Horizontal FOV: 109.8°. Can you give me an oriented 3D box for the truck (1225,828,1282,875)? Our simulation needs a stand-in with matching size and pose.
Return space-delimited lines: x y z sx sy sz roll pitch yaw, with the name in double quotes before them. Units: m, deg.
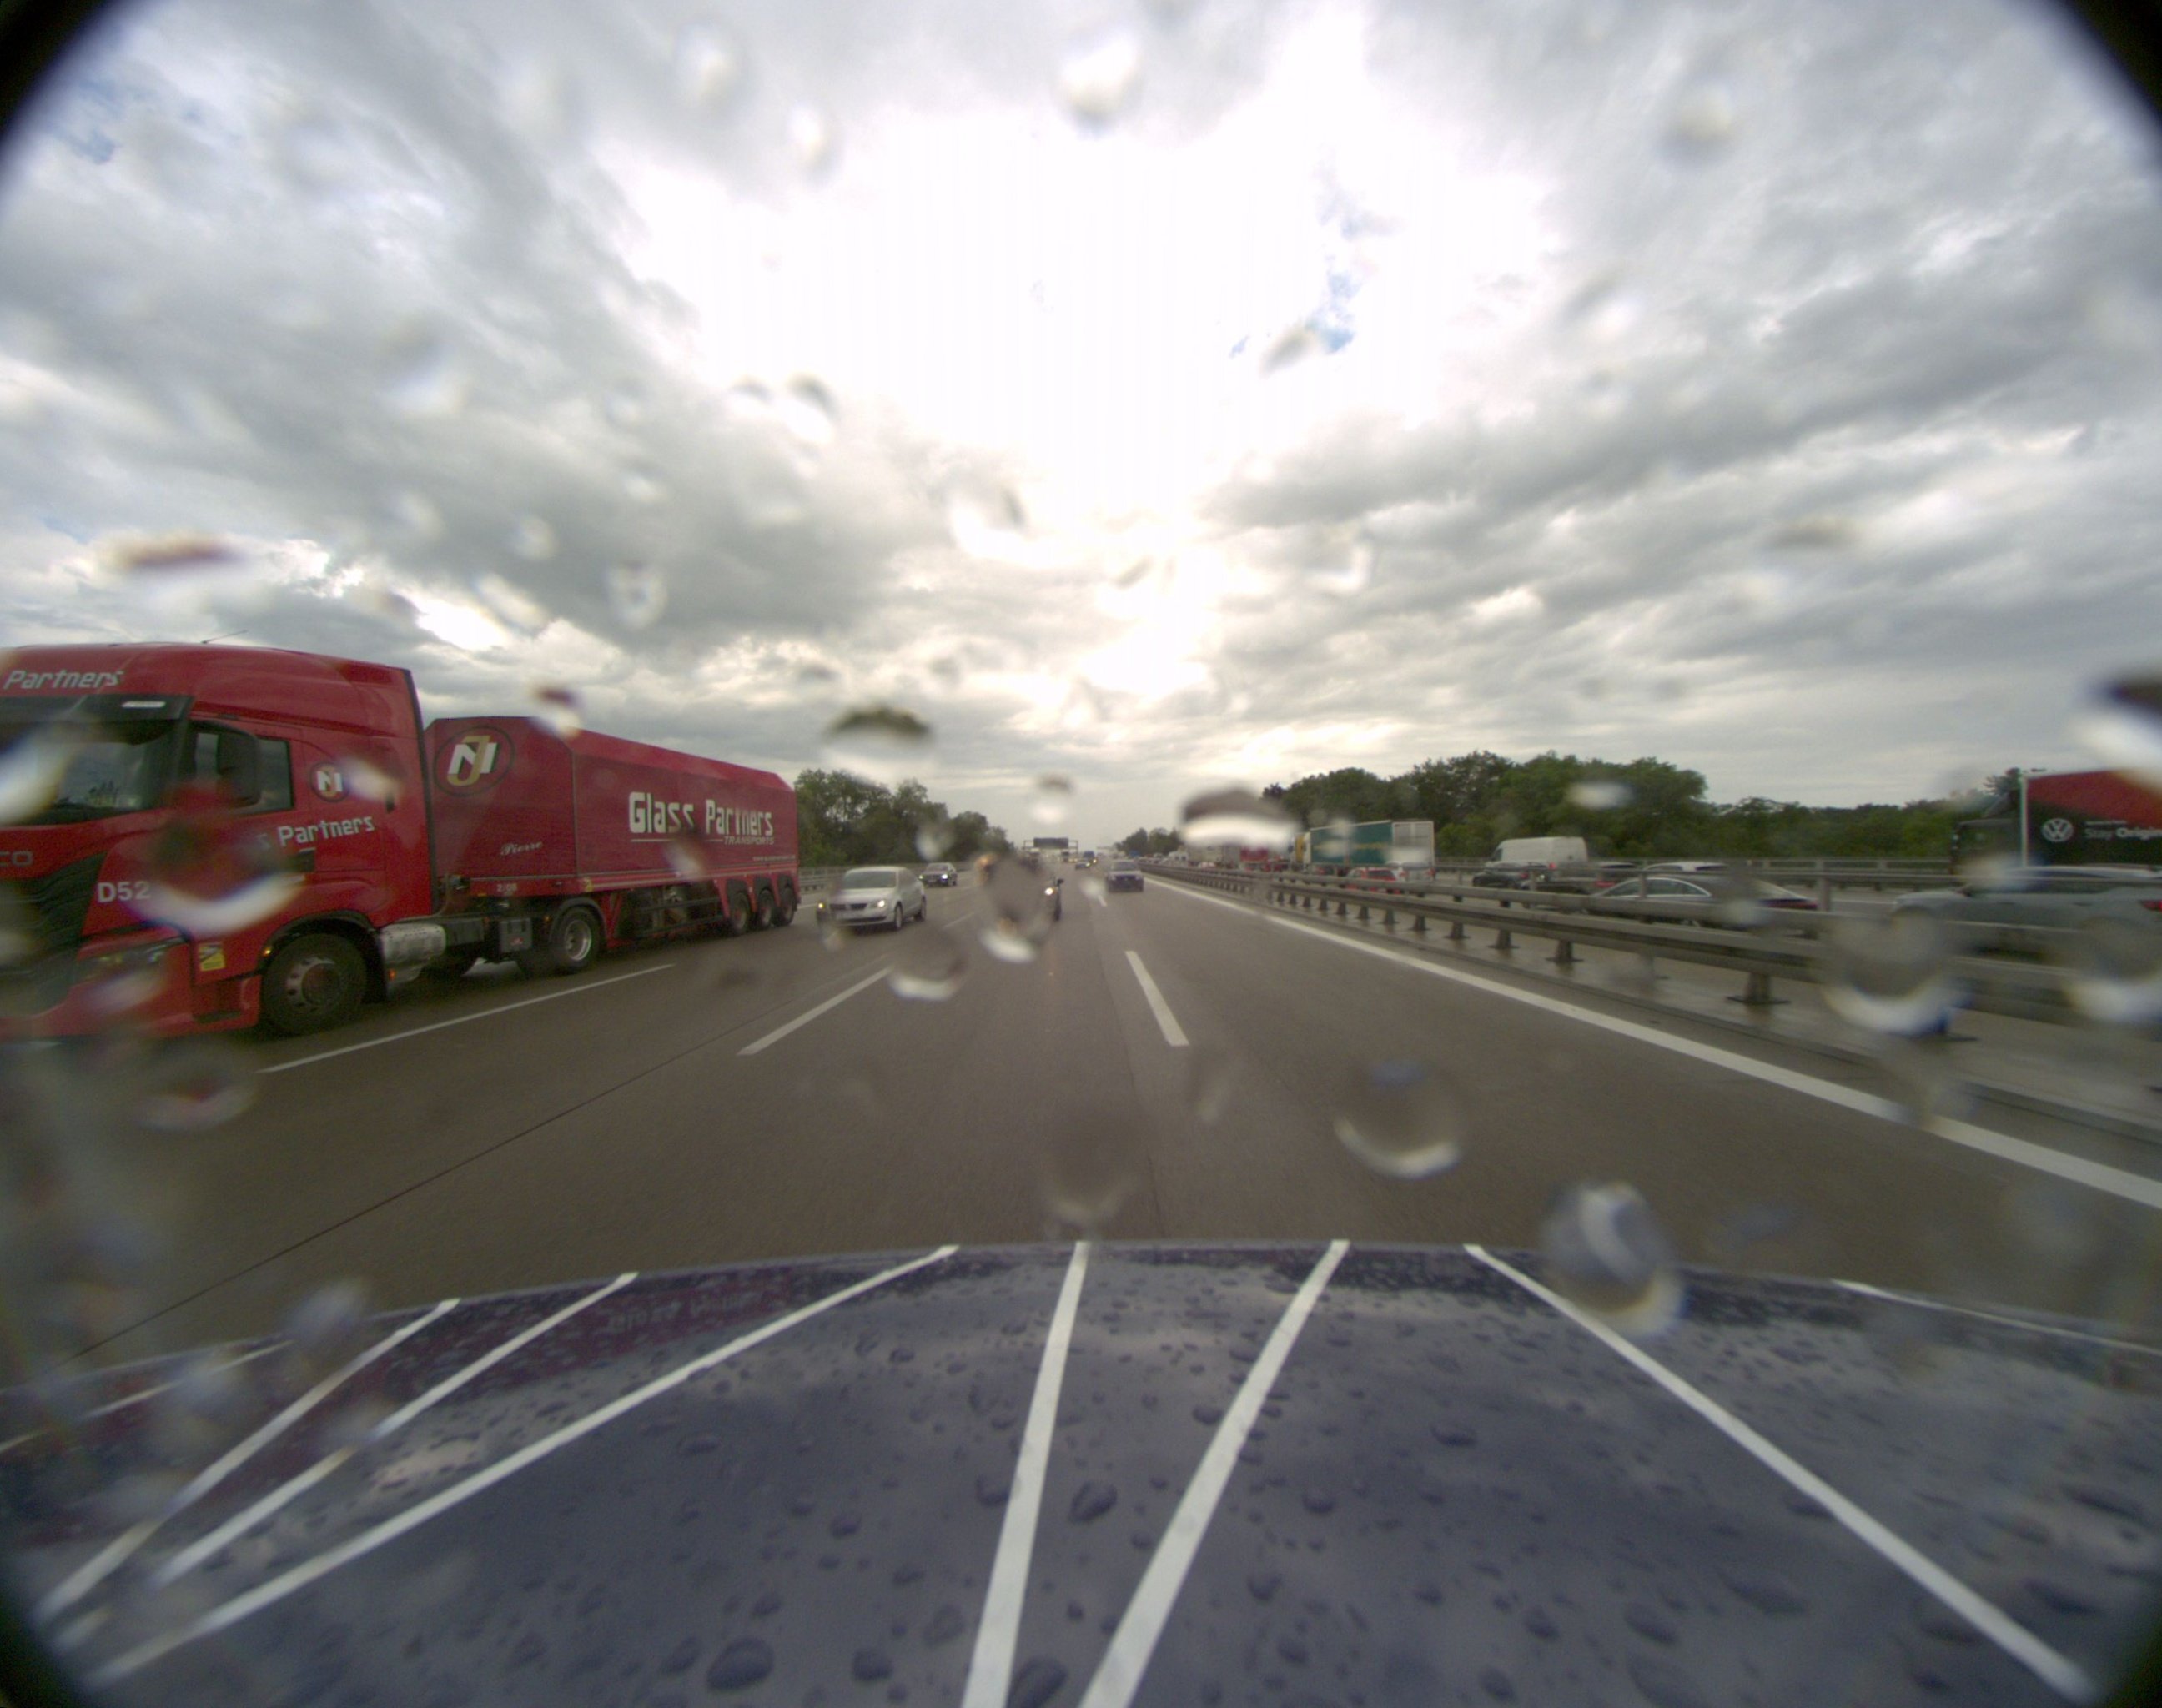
"truck" 16.440 -0.183 73.374 2.991 4.124 12.524 -1 0 2

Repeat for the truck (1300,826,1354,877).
"truck" 20.494 -0.198 63.604 2.852 4.005 4.963 -2 0 0

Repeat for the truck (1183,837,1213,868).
"truck" 16.408 -0.220 106.913 2.888 4.155 7.556 -1 0 -1

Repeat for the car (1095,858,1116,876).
"car" 2.162 1.139 67.197 1.751 1.489 4.015 -1 0 1

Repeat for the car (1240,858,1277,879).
"car" 13.195 1.058 56.666 1.836 1.443 4.000 -1 0 1

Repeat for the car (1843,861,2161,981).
"car" 16.507 0.993 13.106 1.724 1.690 5.055 0 0 1

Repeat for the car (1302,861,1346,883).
"car" 17.056 1.248 53.469 1.836 1.443 4.000 0 0 1

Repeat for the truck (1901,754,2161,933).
"truck" 25.161 -0.277 16.692 3.233 3.887 10.281 -2 0 1

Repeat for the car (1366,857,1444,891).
"car" 16.578 0.980 39.168 1.768 1.615 4.779 -2 0 -2

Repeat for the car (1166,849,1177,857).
"car" 23.335 -0.167 195.890 1.999 2.002 5.411 -1 0 -3

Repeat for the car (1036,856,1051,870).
"car" -5.071 1.229 103.089 1.962 1.831 3.999 -1 0 -2

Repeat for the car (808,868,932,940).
"car" -4.905 1.099 18.303 1.898 1.438 4.245 -1 0 -2

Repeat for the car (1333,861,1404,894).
"car" 12.938 1.027 34.442 1.577 1.346 4.384 0 0 1

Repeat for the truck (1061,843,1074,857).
"truck" -4.094 -1.131 229.392 2.958 3.777 12.323 -2 0 -5

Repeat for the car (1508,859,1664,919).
"car" 16.210 1.038 24.784 1.724 1.717 5.104 0 0 1

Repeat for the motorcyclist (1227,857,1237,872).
"motorcyclist" 14.033 0.987 70.466 0.730 1.333 1.030 0 0 1

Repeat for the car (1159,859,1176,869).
"car" 12.641 1.396 111.351 1.927 1.410 5.164 -1 0 -1

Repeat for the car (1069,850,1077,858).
"car" -2.096 0.053 204.275 1.999 2.002 3.507 -2 0 -1

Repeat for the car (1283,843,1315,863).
"car" 21.016 -0.124 73.298 1.998 1.820 4.000 -1 0 2

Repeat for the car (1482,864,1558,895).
"car" 20.205 1.136 35.132 1.577 1.325 3.432 0 0 1

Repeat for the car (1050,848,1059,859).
"car" -6.631 -0.149 191.213 2.037 2.587 4.513 -1 0 -1

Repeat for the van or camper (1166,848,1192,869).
"van or camper" 12.402 0.562 96.456 2.284 2.481 7.302 -1 0 -1

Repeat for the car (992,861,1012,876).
"car" -8.442 1.539 81.856 1.782 1.438 4.587 -1 0 -2

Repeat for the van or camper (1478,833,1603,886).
"van or camper" 24.436 0.294 40.937 2.249 2.563 7.363 -1 0 0

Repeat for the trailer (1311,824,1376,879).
"trailer" 20.522 -0.178 59.676 2.842 4.005 6.314 -2 0 0

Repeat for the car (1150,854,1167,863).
"car" 12.650 0.691 124.266 2.020 1.378 5.459 -1 0 -1

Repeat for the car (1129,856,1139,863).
"car" 11.443 1.202 164.151 1.767 1.375 4.819 -1 0 -2

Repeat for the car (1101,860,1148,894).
"car" 1.937 0.994 35.119 1.781 1.399 5.016 -1 0 -1

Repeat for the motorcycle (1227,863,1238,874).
"motorcycle" 14.060 1.339 70.467 0.735 0.960 1.789 0 0 1

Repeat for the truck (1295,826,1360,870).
"truck" 24.071 -0.537 74.931 2.727 3.958 11.694 -1 0 1

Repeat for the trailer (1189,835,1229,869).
"trailer" 16.502 -0.235 99.096 2.888 4.121 13.027 -1 0 -1

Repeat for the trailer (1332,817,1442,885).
"trailer" 20.478 -0.159 51.864 2.825 4.037 11.602 -2 0 0

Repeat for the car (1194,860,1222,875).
"car" 12.631 1.292 75.815 1.927 1.410 5.011 -1 0 -1

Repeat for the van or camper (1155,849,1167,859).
"van or camper" 22.563 -0.030 213.475 2.208 2.749 7.230 -1 0 -3

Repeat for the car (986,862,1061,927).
"car" -1.419 0.976 20.237 1.668 1.431 4.405 -1 0 0

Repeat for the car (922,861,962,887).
"car" -8.740 1.237 48.172 1.820 1.534 4.357 -1 0 -2

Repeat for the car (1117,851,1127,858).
"car" 11.052 0.113 205.001 1.871 1.815 5.707 -1 0 -3

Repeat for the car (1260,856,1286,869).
"car" 20.269 0.879 80.284 1.603 1.336 4.195 -1 0 -1

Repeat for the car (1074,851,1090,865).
"car" 0.176 0.553 100.601 2.134 1.831 4.000 -1 0 1

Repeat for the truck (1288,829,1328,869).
"truck" 24.113 -0.526 80.868 2.709 4.045 5.108 -1 0 1

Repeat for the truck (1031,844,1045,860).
"truck" -10.695 -0.466 188.101 3.255 3.884 12.310 -2 0 -4

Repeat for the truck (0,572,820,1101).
"truck" -8.971 -0.058 13.561 3.160 3.980 15.636 -1 0 0

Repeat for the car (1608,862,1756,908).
"car" 19.920 0.978 25.461 1.672 1.346 4.218 0 0 1

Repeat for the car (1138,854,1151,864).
"car" 12.288 0.975 146.567 1.918 1.756 5.331 -1 0 -1

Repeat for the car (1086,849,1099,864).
"car" 1.896 0.374 128.126 1.999 2.354 4.171 -2 0 -1

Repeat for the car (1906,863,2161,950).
"car" 20.270 0.975 15.848 1.724 1.526 4.086 0 0 1

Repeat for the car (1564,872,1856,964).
"car" 12.881 1.198 16.200 1.724 1.494 5.502 0 0 1

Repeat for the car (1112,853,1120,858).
"car" 10.390 0.516 226.759 1.879 1.384 5.364 -1 0 -3

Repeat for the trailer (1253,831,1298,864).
"trailer" 24.683 -0.799 97.326 2.765 3.970 12.307 -1 0 1
